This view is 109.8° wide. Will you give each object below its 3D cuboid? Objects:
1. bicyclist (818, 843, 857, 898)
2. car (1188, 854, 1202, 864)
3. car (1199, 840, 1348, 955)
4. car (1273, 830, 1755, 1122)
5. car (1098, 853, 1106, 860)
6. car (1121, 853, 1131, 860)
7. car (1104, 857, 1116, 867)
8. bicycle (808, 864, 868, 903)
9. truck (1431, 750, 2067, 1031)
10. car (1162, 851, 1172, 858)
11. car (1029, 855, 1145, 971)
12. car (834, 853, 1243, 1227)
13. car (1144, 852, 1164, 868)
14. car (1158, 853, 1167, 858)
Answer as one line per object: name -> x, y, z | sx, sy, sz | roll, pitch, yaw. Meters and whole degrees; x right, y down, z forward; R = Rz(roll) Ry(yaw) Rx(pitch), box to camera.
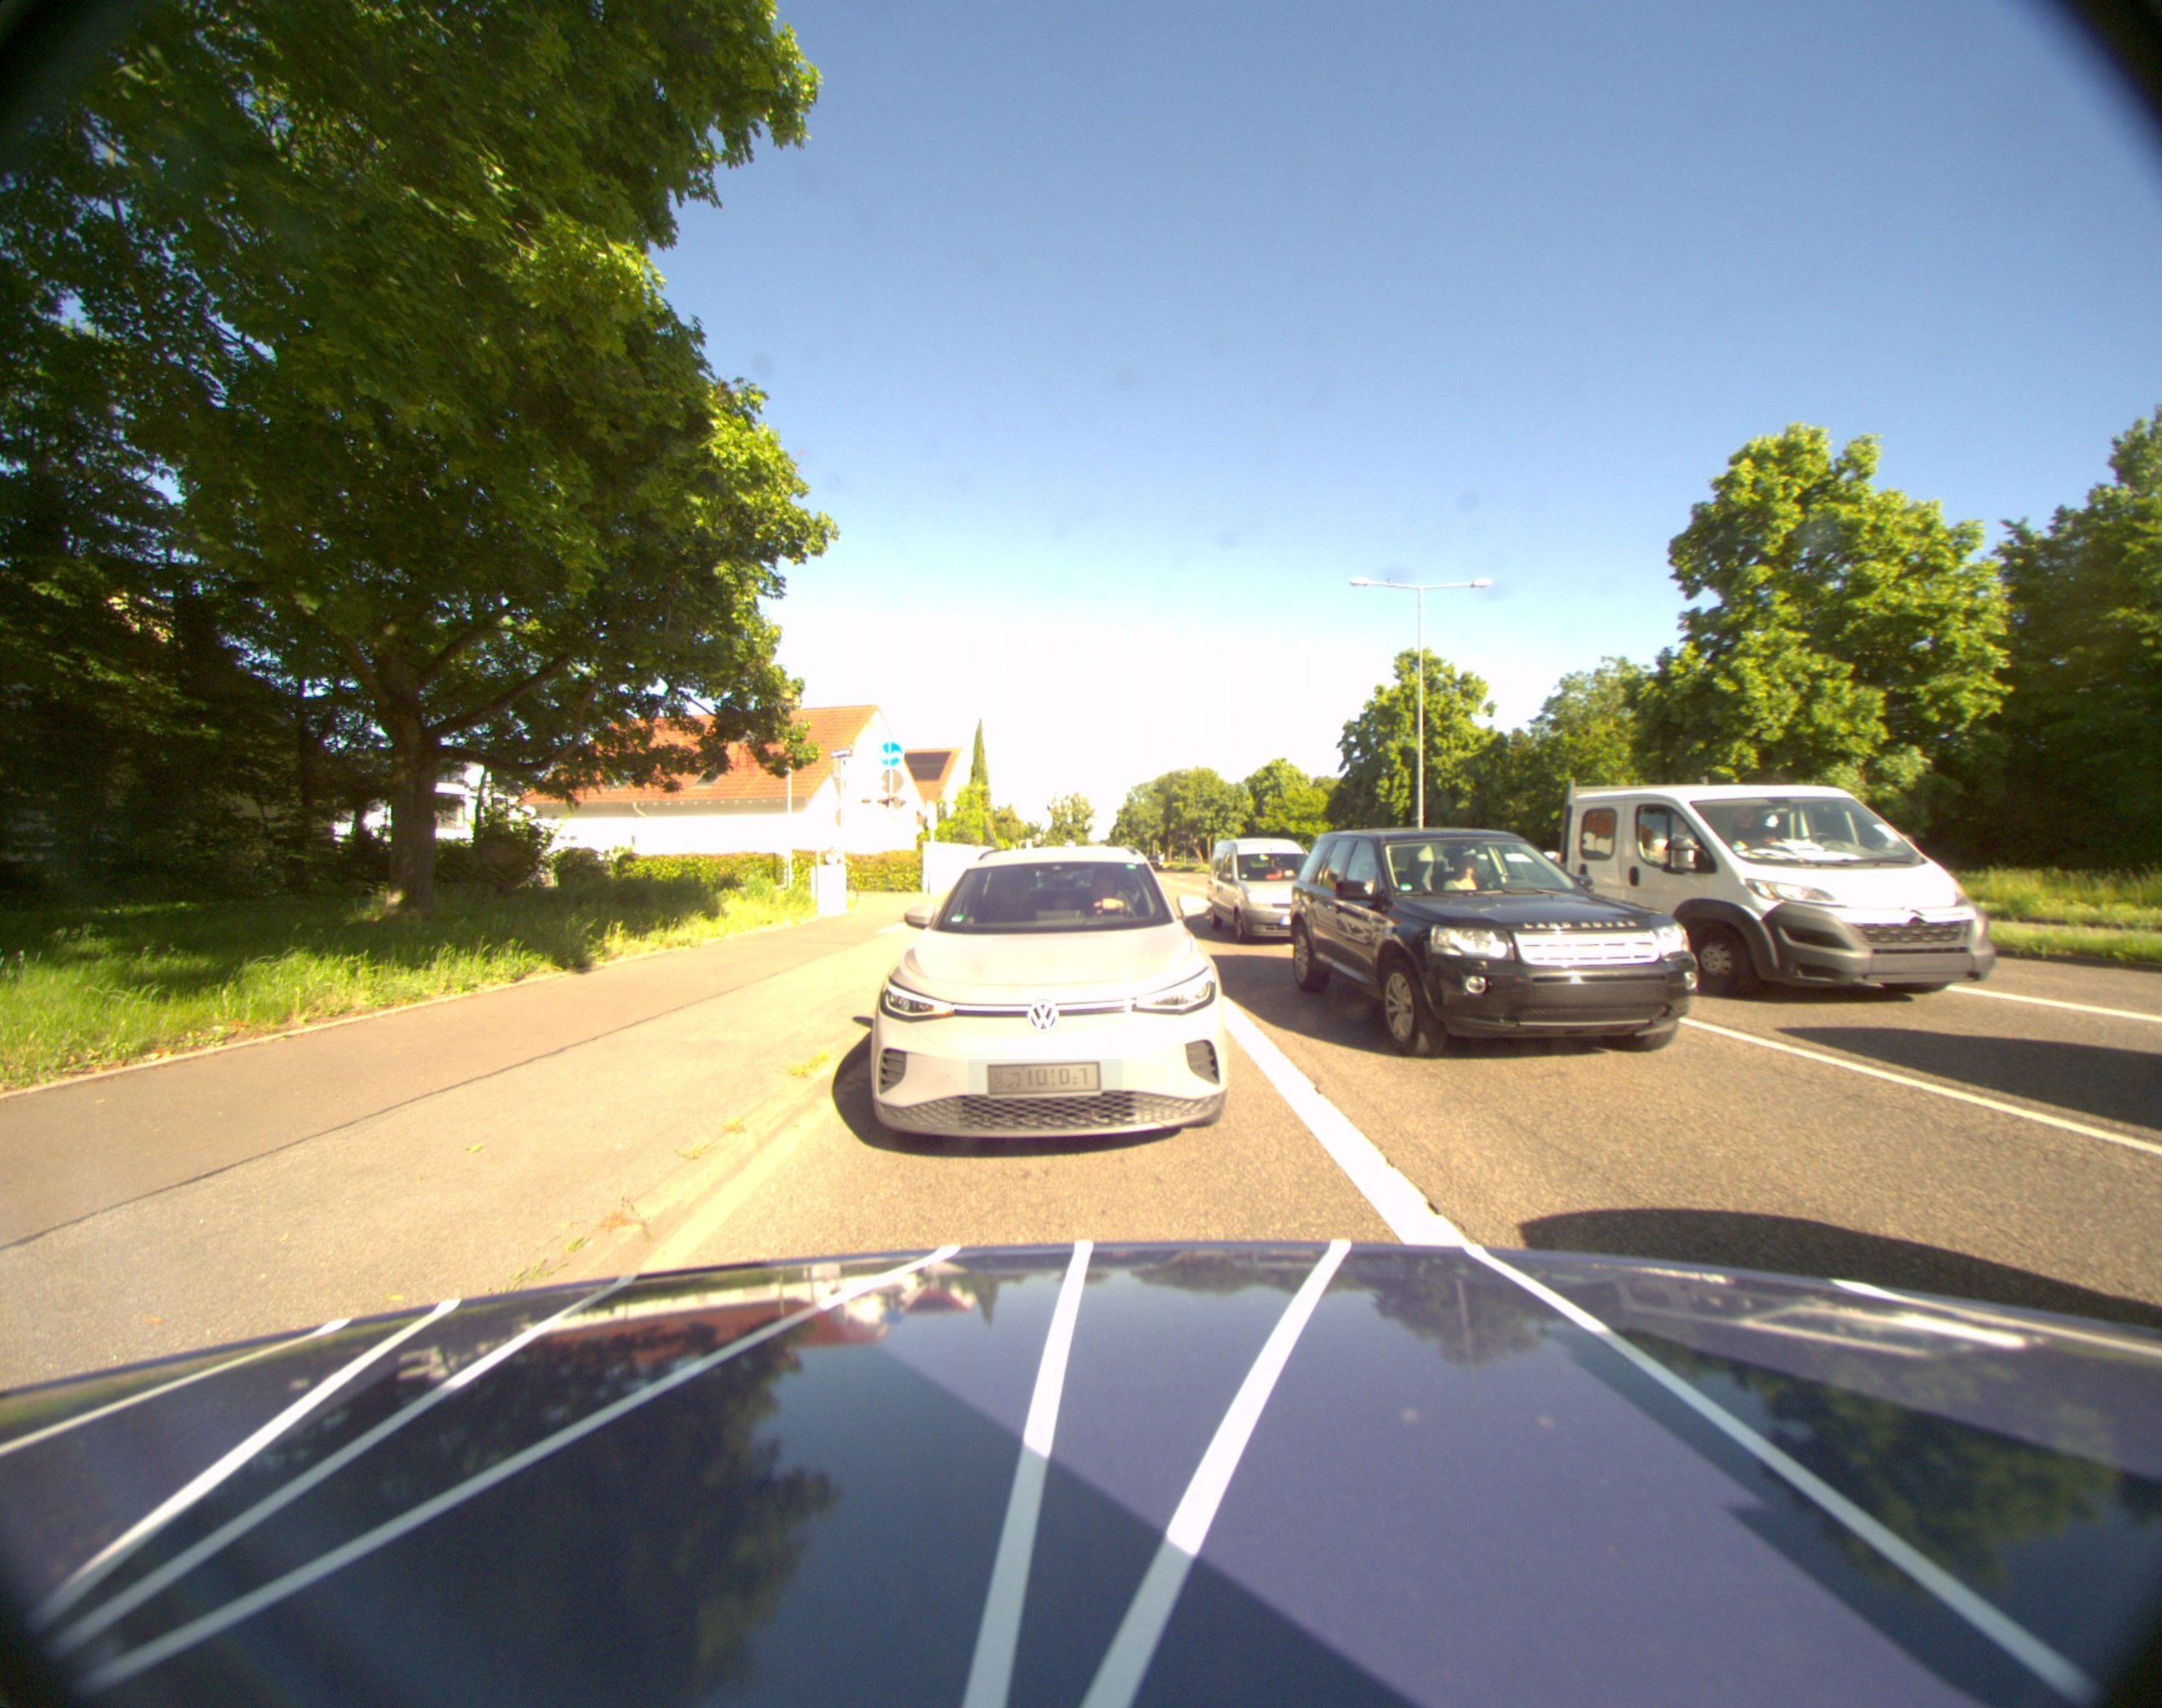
bicyclist -> -7.126, 0.494, 22.224 | 0.994, 1.571, 0.582 | 0, -1, 36
car -> 19.981, 0.890, 133.276 | 1.878, 1.674, 4.000 | 0, 0, 1
car -> 3.327, 0.655, 13.963 | 1.632, 1.741, 4.386 | -2, 1, 1
car -> 3.167, 0.716, 6.768 | 1.816, 1.721, 4.386 | -2, 1, 1
car -> 4.775, 0.583, 173.906 | 1.726, 1.630, 4.000 | 0, 0, 1
car -> 9.004, 0.494, 151.455 | 1.727, 1.436, 3.999 | 0, 0, -1
car -> 4.425, 1.141, 115.421 | 1.630, 1.466, 3.931 | -1, 0, 0
bicycle -> -7.125, 0.841, 22.221 | 1.982, 1.091, 0.582 | 0, -1, 36
truck -> 7.214, 0.271, 9.819 | 2.185, 2.307, 6.842 | -2, 1, 0
car -> 20.174, 0.189, 178.133 | 1.792, 1.674, 4.000 | 0, 0, 1
car -> 0.111, 0.867, 13.017 | 1.632, 1.586, 4.024 | -2, 1, 1
car -> -0.169, 0.850, 5.573 | 1.858, 1.679, 4.206 | 0, 1, 1
car -> 7.370, 0.598, 77.007 | 1.704, 1.466, 3.931 | -1, 0, 0
car -> 21.216, 0.415, 197.816 | 1.792, 1.409, 4.000 | 0, 0, 1
